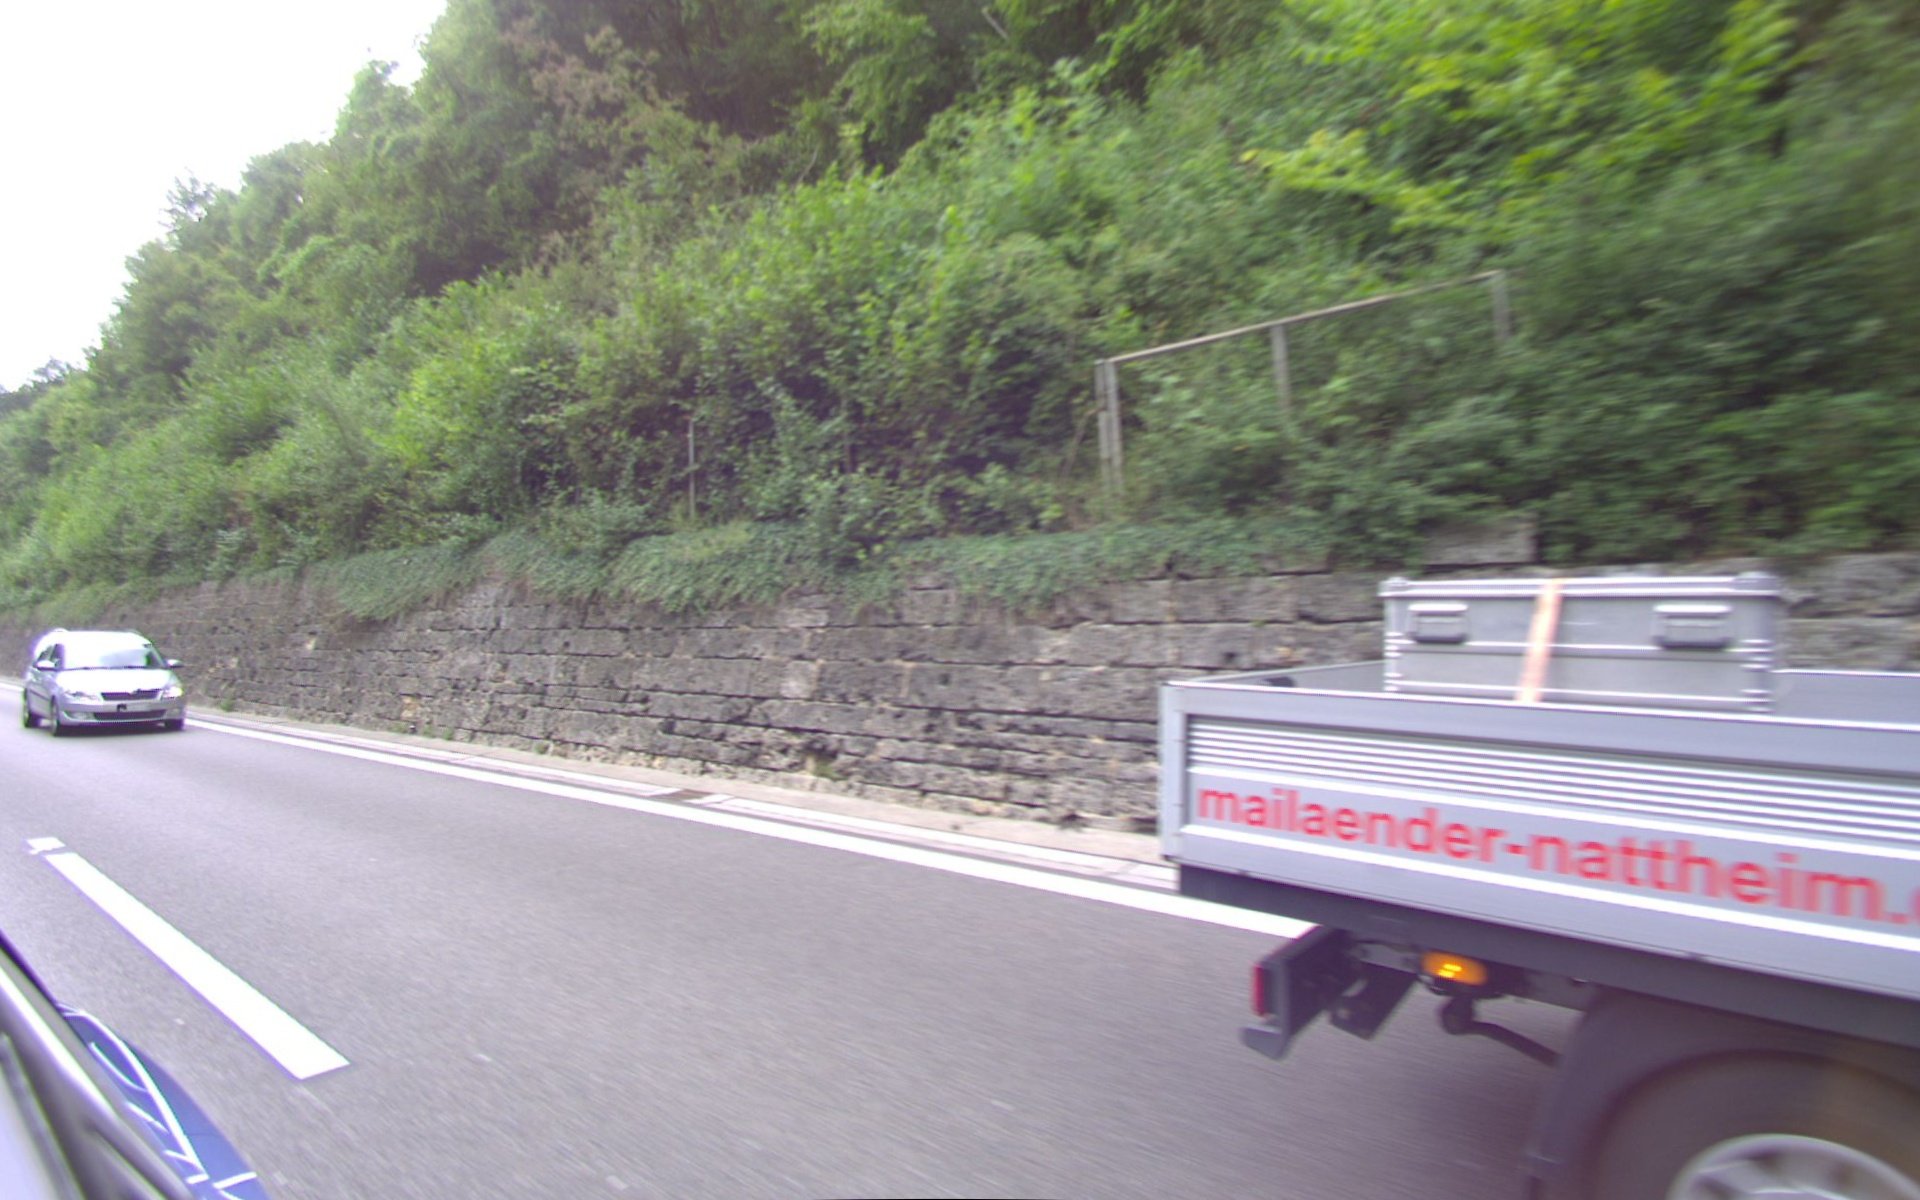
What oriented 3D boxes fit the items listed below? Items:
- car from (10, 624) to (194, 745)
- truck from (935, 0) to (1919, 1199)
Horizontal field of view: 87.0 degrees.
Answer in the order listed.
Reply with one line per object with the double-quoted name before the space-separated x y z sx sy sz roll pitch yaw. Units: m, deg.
"car" -14.132 1.295 16.588 4.342 1.740 1.617 -2 -3 41
"truck" 3.300 0.250 1.364 6.843 2.291 2.325 -1 -2 40
